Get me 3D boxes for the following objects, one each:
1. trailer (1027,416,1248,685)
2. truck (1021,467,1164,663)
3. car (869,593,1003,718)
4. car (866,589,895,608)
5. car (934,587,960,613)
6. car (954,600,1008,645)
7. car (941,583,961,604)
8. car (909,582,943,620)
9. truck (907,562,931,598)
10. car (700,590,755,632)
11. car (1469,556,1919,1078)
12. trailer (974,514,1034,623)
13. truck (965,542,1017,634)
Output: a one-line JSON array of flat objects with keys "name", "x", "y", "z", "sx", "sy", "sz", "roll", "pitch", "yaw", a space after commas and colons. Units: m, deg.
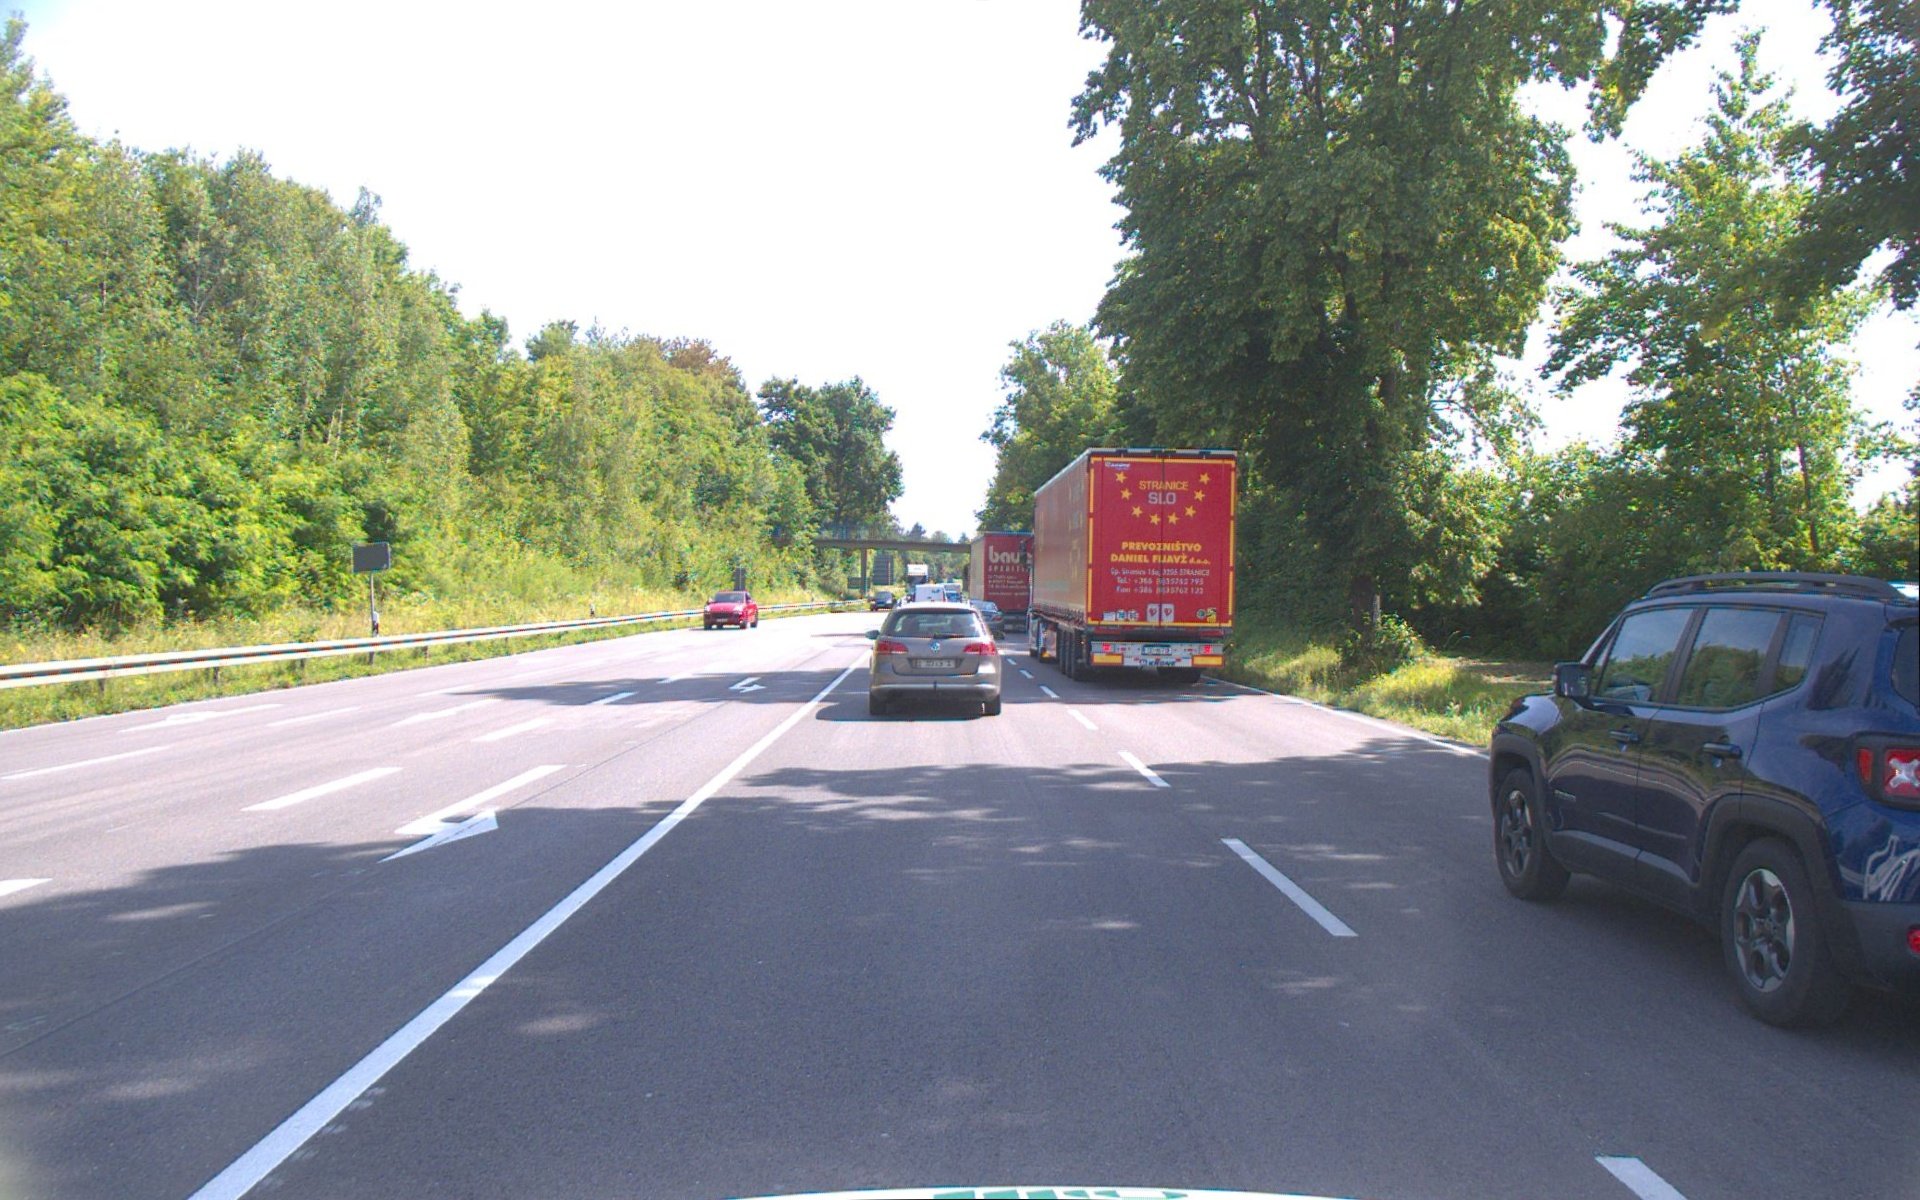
[{"name": "trailer", "x": 3.240, "y": -0.793, "z": 34.190, "sx": 2.782, "sy": 4.442, "sz": 13.163, "roll": 1, "pitch": 0, "yaw": -1}, {"name": "truck", "x": 3.093, "y": -0.769, "z": 40.133, "sx": 2.812, "sy": 4.356, "sz": 5.837, "roll": 1, "pitch": 0, "yaw": -1}, {"name": "car", "x": -0.350, "y": 0.708, "z": 22.736, "sx": 1.657, "sy": 1.539, "sz": 3.999, "roll": -1, "pitch": 0, "yaw": -1}, {"name": "car", "x": -6.145, "y": -0.102, "z": 128.723, "sx": 1.922, "sy": 1.439, "sz": 4.001, "roll": 0, "pitch": 0, "yaw": 2}, {"name": "car", "x": -1.054, "y": -0.005, "z": 132.358, "sx": 1.953, "sy": 2.049, "sz": 3.999, "roll": -1, "pitch": 0, "yaw": -1}, {"name": "car", "x": 0.722, "y": 0.788, "z": 58.971, "sx": 1.734, "sy": 1.539, "sz": 3.999, "roll": -1, "pitch": 0, "yaw": -1}, {"name": "car", "x": -0.927, "y": -0.658, "z": 172.853, "sx": 1.953, "sy": 2.049, "sz": 3.999, "roll": -1, "pitch": 0, "yaw": -1}, {"name": "car", "x": -1.813, "y": 0.052, "z": 87.839, "sx": 1.734, "sy": 1.970, "sz": 3.976, "roll": -1, "pitch": 0, "yaw": -1}, {"name": "truck", "x": -4.893, "y": -2.319, "z": 193.861, "sx": 2.718, "sy": 4.000, "sz": 9.463, "roll": 0, "pitch": 0, "yaw": -2}, {"name": "car", "x": -10.637, "y": 0.515, "z": 75.963, "sx": 1.933, "sy": 1.828, "sz": 4.807, "roll": -1, "pitch": 0, "yaw": -1}, {"name": "car", "x": 3.805, "y": 0.698, "z": 7.378, "sx": 1.734, "sy": 1.683, "sz": 3.999, "roll": -1, "pitch": 0, "yaw": -1}, {"name": "trailer", "x": 1.860, "y": -1.238, "z": 72.908, "sx": 2.346, "sy": 4.317, "sz": 13.078, "roll": -1, "pitch": 0, "yaw": 1}, {"name": "truck", "x": 1.488, "y": -0.547, "z": 79.293, "sx": 2.357, "sy": 4.200, "sz": 5.521, "roll": -1, "pitch": 0, "yaw": 1}]
